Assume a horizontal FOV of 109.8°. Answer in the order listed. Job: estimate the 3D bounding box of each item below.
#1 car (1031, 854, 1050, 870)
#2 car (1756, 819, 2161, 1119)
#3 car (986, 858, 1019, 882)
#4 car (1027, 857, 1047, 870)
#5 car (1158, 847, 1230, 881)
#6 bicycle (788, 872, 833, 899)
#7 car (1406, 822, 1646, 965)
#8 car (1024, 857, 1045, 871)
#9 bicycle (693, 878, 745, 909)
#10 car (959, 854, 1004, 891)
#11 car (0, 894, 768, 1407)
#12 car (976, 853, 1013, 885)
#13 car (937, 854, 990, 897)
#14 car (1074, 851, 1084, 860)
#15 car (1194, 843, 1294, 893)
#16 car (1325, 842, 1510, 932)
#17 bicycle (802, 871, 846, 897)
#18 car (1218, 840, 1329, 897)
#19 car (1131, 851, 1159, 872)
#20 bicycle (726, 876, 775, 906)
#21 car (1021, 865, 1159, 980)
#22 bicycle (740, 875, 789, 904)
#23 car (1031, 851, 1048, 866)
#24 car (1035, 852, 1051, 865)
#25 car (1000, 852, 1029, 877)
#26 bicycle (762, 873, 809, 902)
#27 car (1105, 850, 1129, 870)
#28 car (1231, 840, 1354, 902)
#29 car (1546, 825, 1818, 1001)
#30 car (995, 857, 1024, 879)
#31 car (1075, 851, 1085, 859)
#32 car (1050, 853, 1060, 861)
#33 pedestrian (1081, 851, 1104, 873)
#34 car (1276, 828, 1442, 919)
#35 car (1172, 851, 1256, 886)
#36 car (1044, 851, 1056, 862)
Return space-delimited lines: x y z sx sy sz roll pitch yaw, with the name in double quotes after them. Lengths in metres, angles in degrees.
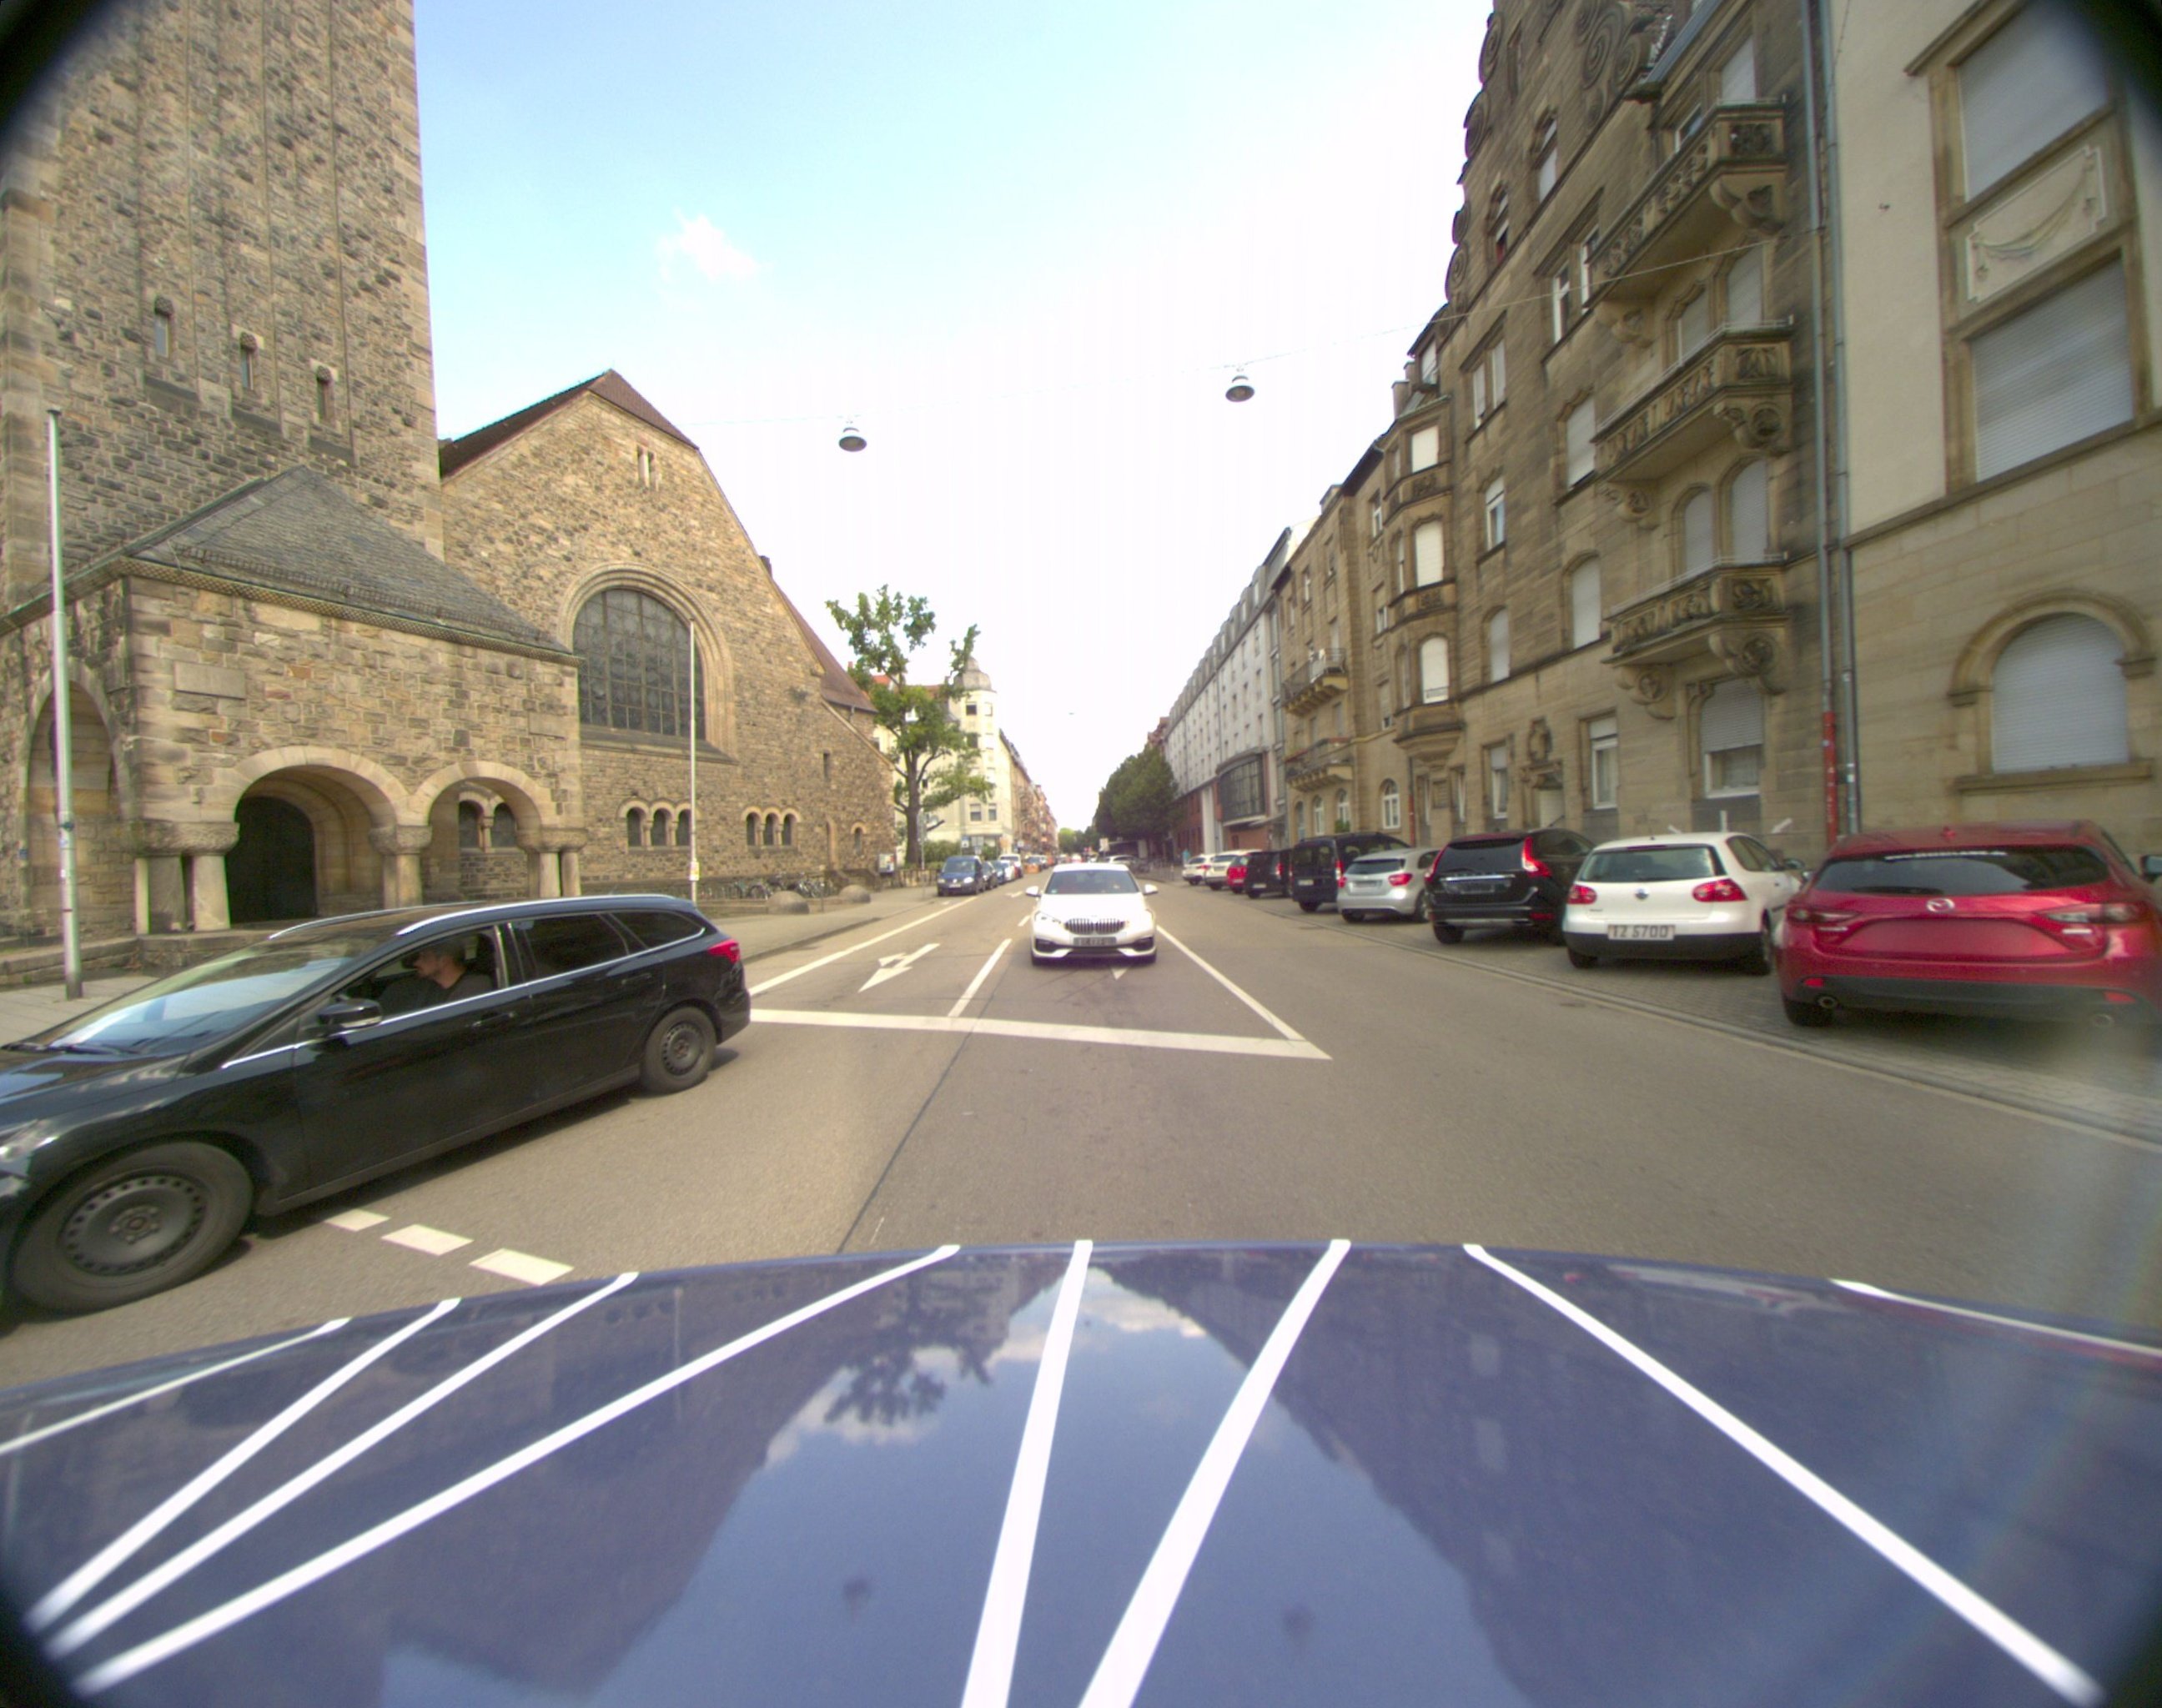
-4.723 0.935 88.892 1.809 1.675 4.186 -3 0 1 "car"
6.965 0.616 5.883 4.006 1.448 1.808 -5 0 -38 "car"
-5.266 1.065 51.431 1.683 1.438 3.798 -3 0 1 "car"
-4.840 1.069 84.481 1.809 1.360 4.186 -3 0 1 "car"
6.466 0.549 43.267 3.961 1.576 1.727 -4 -1 -39 "car"
-11.865 1.359 33.327 1.935 1.106 0.587 1 2 21 "bicycle"
6.963 0.517 11.741 3.960 1.679 1.799 -5 0 -39 "car"
-4.828 1.027 79.529 1.809 1.360 4.186 -3 0 1 "car"
-13.748 1.487 28.857 1.935 1.106 0.587 1 2 21 "bicycle"
-5.231 0.936 40.369 1.683 1.780 4.000 -3 0 1 "car"
-4.123 1.168 4.402 1.781 1.525 4.391 -3 0 17 "car"
-5.254 0.883 46.567 1.683 1.780 4.000 -3 0 1 "car"
-5.374 0.937 35.164 1.683 1.780 4.145 -3 0 1 "car"
-0.334 0.347 143.663 1.809 1.590 4.186 -3 0 1 "car"
6.626 0.536 30.759 3.960 1.576 1.727 -6 0 -39 "car"
7.069 0.648 15.811 3.960 1.420 1.727 -5 -1 -38 "car"
-11.526 1.336 34.058 1.935 1.106 0.587 1 2 21 "bicycle"
7.028 0.493 27.534 3.960 1.576 1.727 -7 1 -39 "car"
4.911 0.557 58.877 1.891 1.556 3.890 -3 0 1 "car"
-13.190 1.447 30.333 1.935 1.106 0.587 1 2 21 "bicycle"
0.162 0.951 12.322 1.826 1.439 4.386 -1 0 1 "car"
-12.913 1.429 30.996 1.935 1.106 0.587 1 2 21 "bicycle"
-5.095 0.555 93.817 1.809 1.756 4.186 -3 0 1 "car"
-5.304 0.596 106.958 1.809 1.756 4.186 -3 0 1 "car"
-5.322 0.820 61.175 1.844 1.927 4.186 -3 0 1 "car"
-12.397 1.397 31.861 1.935 1.106 0.587 1 2 21 "bicycle"
3.118 0.508 66.316 1.891 1.641 3.890 -3 0 1 "car"
6.921 0.525 24.691 3.960 1.576 1.727 -7 1 -39 "car"
7.251 0.565 9.027 3.960 1.448 1.727 -6 0 -41 "car"
-5.317 1.032 56.697 1.683 1.487 3.890 -3 0 1 "car"
-0.175 0.232 153.760 1.809 1.590 4.186 -3 0 1 "car"
-5.520 0.635 160.203 1.809 1.756 4.186 -3 0 1 "car"
0.968 0.669 64.059 1.316 1.747 1.370 -3 1 -35 "pedestrian"
6.916 0.435 18.768 3.960 1.857 1.727 -5 1 -34 "car"
6.412 0.667 36.464 3.961 1.465 1.727 -3 0 -39 "car"
-5.549 0.474 136.400 1.809 1.901 4.186 -3 0 1 "car"
